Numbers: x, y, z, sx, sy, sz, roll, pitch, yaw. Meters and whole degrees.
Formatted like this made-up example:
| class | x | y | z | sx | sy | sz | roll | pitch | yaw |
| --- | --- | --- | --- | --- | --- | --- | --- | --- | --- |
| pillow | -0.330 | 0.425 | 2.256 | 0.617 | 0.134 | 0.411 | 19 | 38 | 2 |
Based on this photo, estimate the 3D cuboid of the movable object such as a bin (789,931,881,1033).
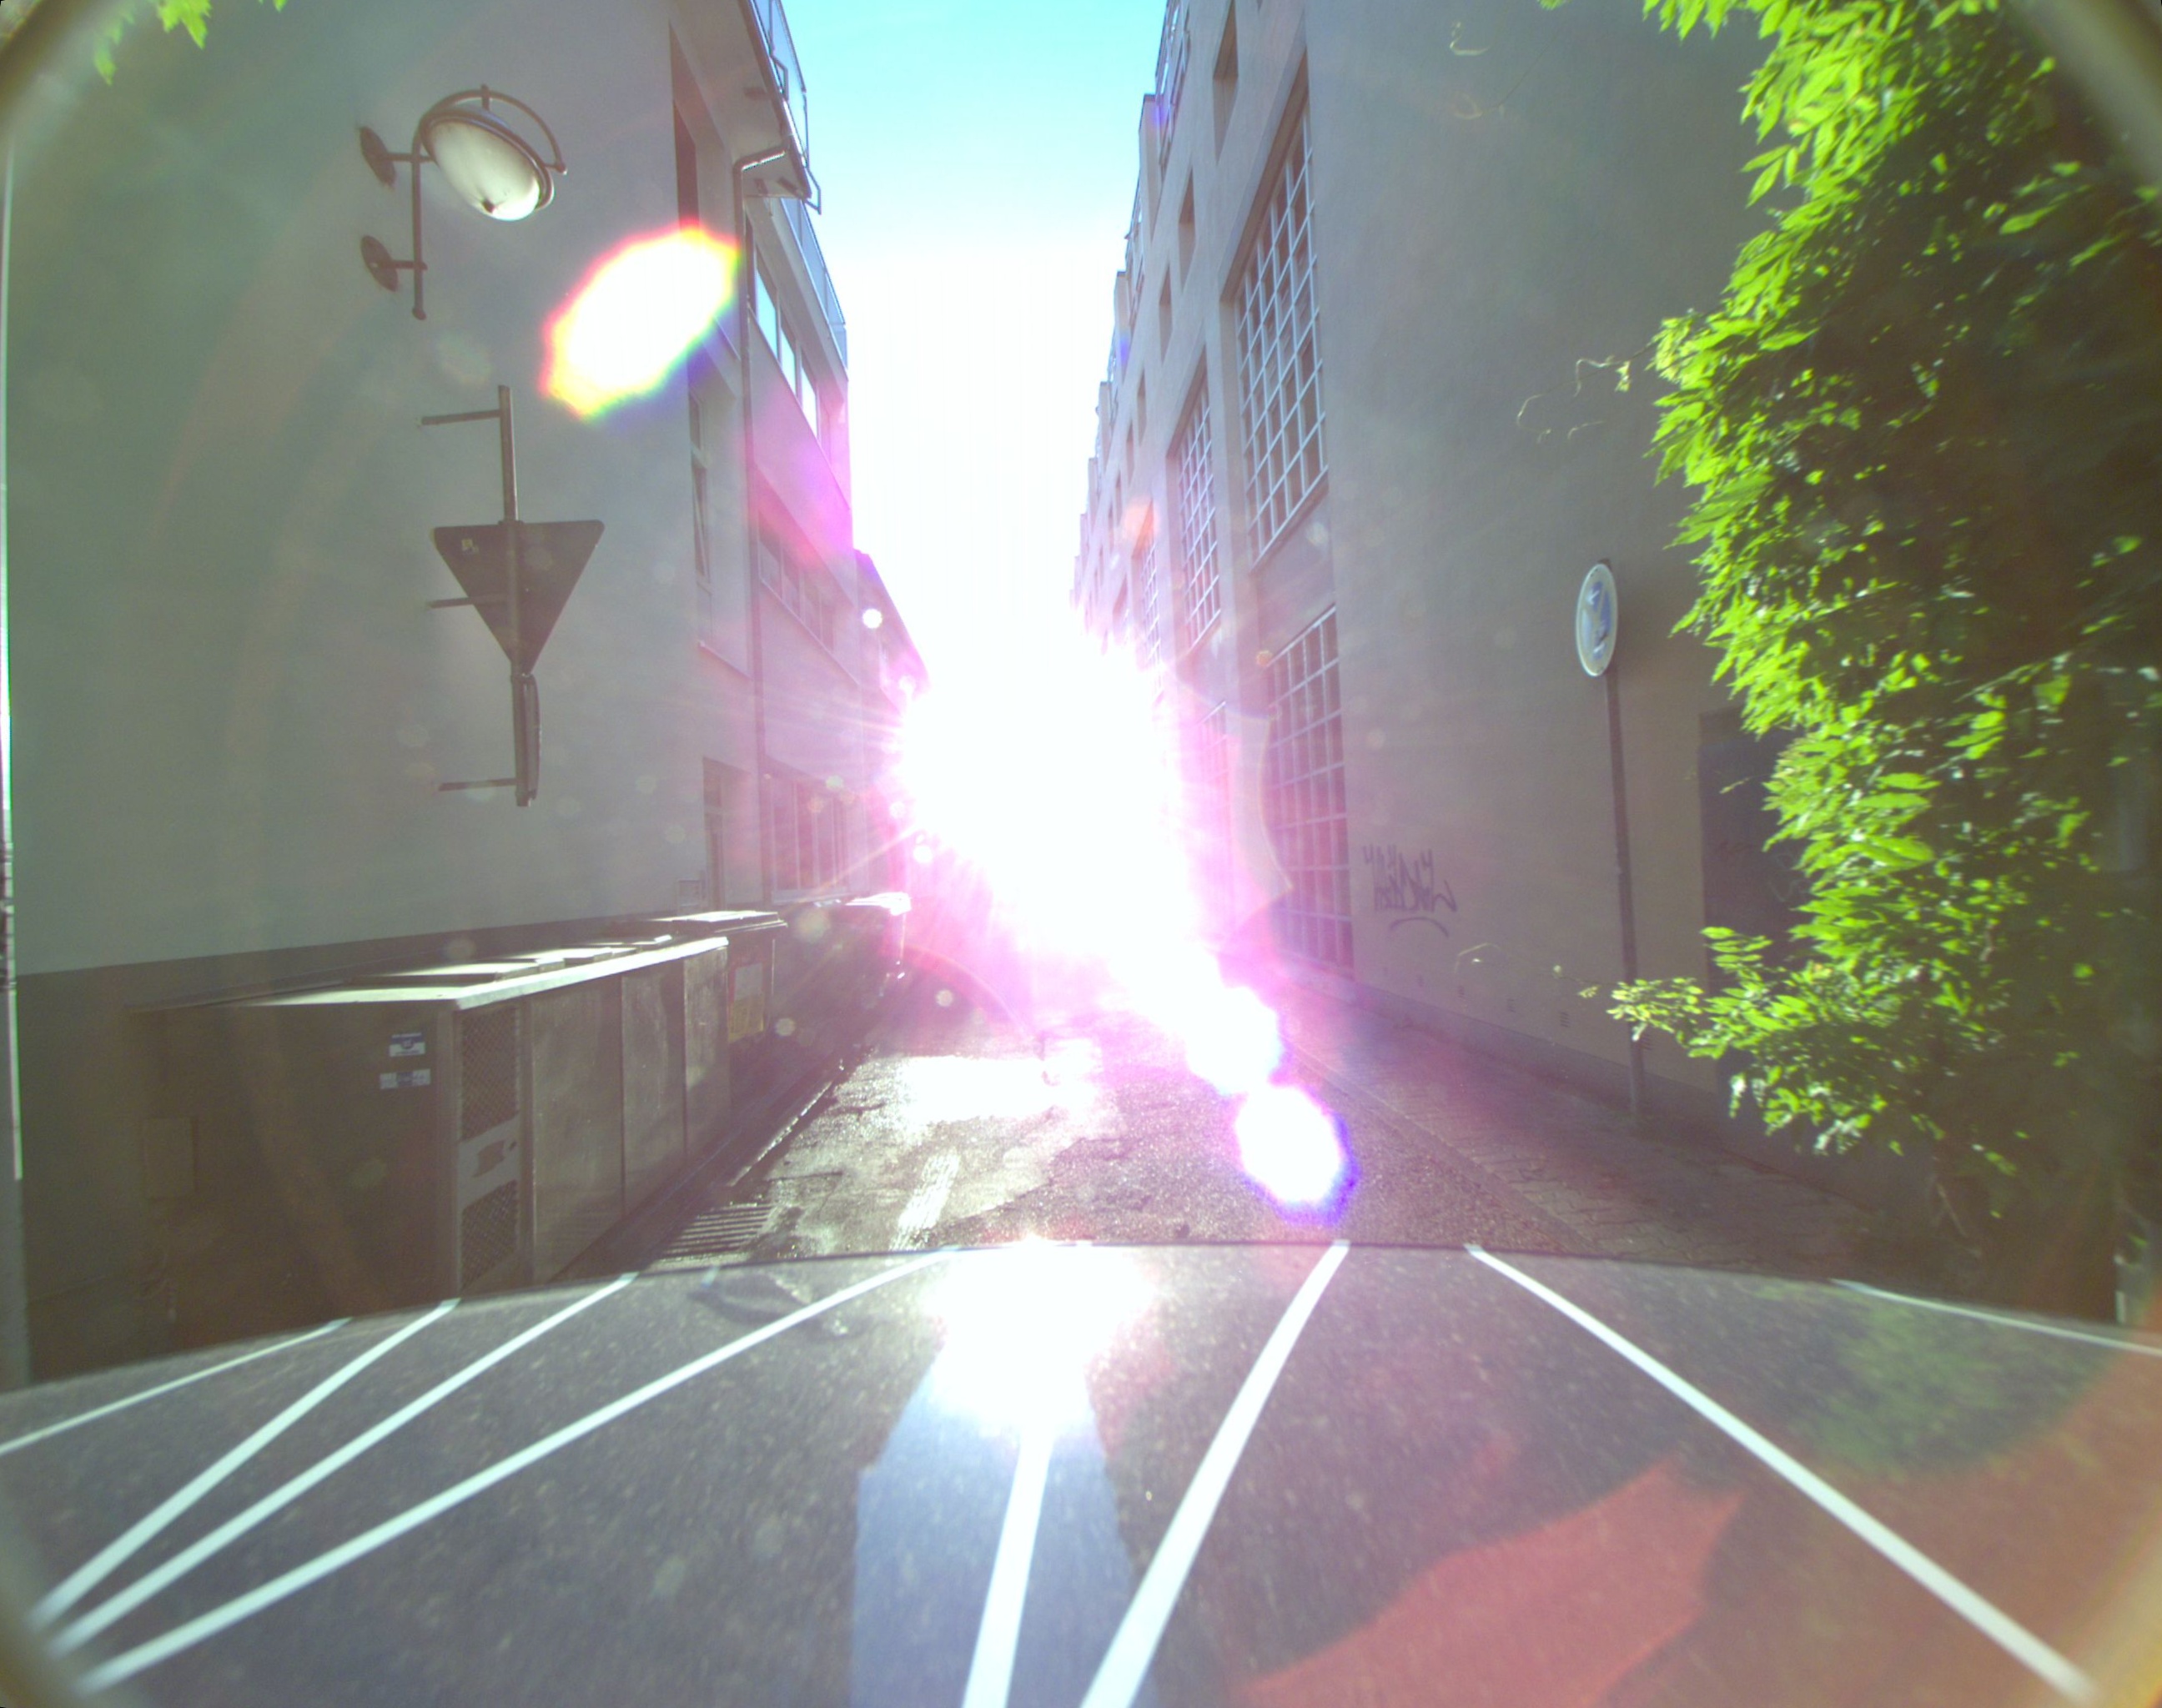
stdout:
| class | x | y | z | sx | sy | sz | roll | pitch | yaw |
| --- | --- | --- | --- | --- | --- | --- | --- | --- | --- |
| movable object such as a bin | -2.856 | 1.468 | 8.897 | 0.871 | 1.068 | 0.738 | -1 | -1 | -5 |

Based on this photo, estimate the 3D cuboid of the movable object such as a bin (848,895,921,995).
| class | x | y | z | sx | sy | sz | roll | pitch | yaw |
| --- | --- | --- | --- | --- | --- | --- | --- | --- | --- |
| movable object such as a bin | -2.950 | 1.333 | 11.531 | 0.940 | 1.358 | 1.341 | -1 | -1 | -10 |

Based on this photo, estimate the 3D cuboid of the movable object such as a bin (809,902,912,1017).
| class | x | y | z | sx | sy | sz | roll | pitch | yaw |
| --- | --- | --- | --- | --- | --- | --- | --- | --- | --- |
| movable object such as a bin | -2.893 | 1.349 | 10.126 | 1.067 | 1.358 | 1.342 | -1 | -1 | -6 |

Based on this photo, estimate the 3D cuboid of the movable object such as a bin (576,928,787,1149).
| class | x | y | z | sx | sy | sz | roll | pitch | yaw |
| --- | --- | --- | --- | --- | --- | --- | --- | --- | --- |
| movable object such as a bin | -2.790 | 1.232 | 5.475 | 0.838 | 1.297 | 1.290 | -1 | -1 | 0 |

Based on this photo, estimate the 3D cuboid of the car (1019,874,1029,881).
| class | x | y | z | sx | sy | sz | roll | pitch | yaw |
| --- | --- | --- | --- | --- | --- | --- | --- | --- | --- |
| car | -12.589 | 5.207 | 167.277 | 1.806 | 1.415 | 3.754 | -4 | -1 | -7 |

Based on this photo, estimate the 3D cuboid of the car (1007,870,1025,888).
| class | x | y | z | sx | sy | sz | roll | pitch | yaw |
| --- | --- | --- | --- | --- | --- | --- | --- | --- | --- |
| car | -7.140 | 2.728 | 83.430 | 1.765 | 1.756 | 4.749 | -5 | -1 | -4 |

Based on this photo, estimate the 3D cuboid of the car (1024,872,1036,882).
| class | x | y | z | sx | sy | sz | roll | pitch | yaw |
| --- | --- | --- | --- | --- | --- | --- | --- | --- | --- |
| car | -10.012 | 4.537 | 149.359 | 1.999 | 1.805 | 3.999 | -5 | -1 | -5 |
